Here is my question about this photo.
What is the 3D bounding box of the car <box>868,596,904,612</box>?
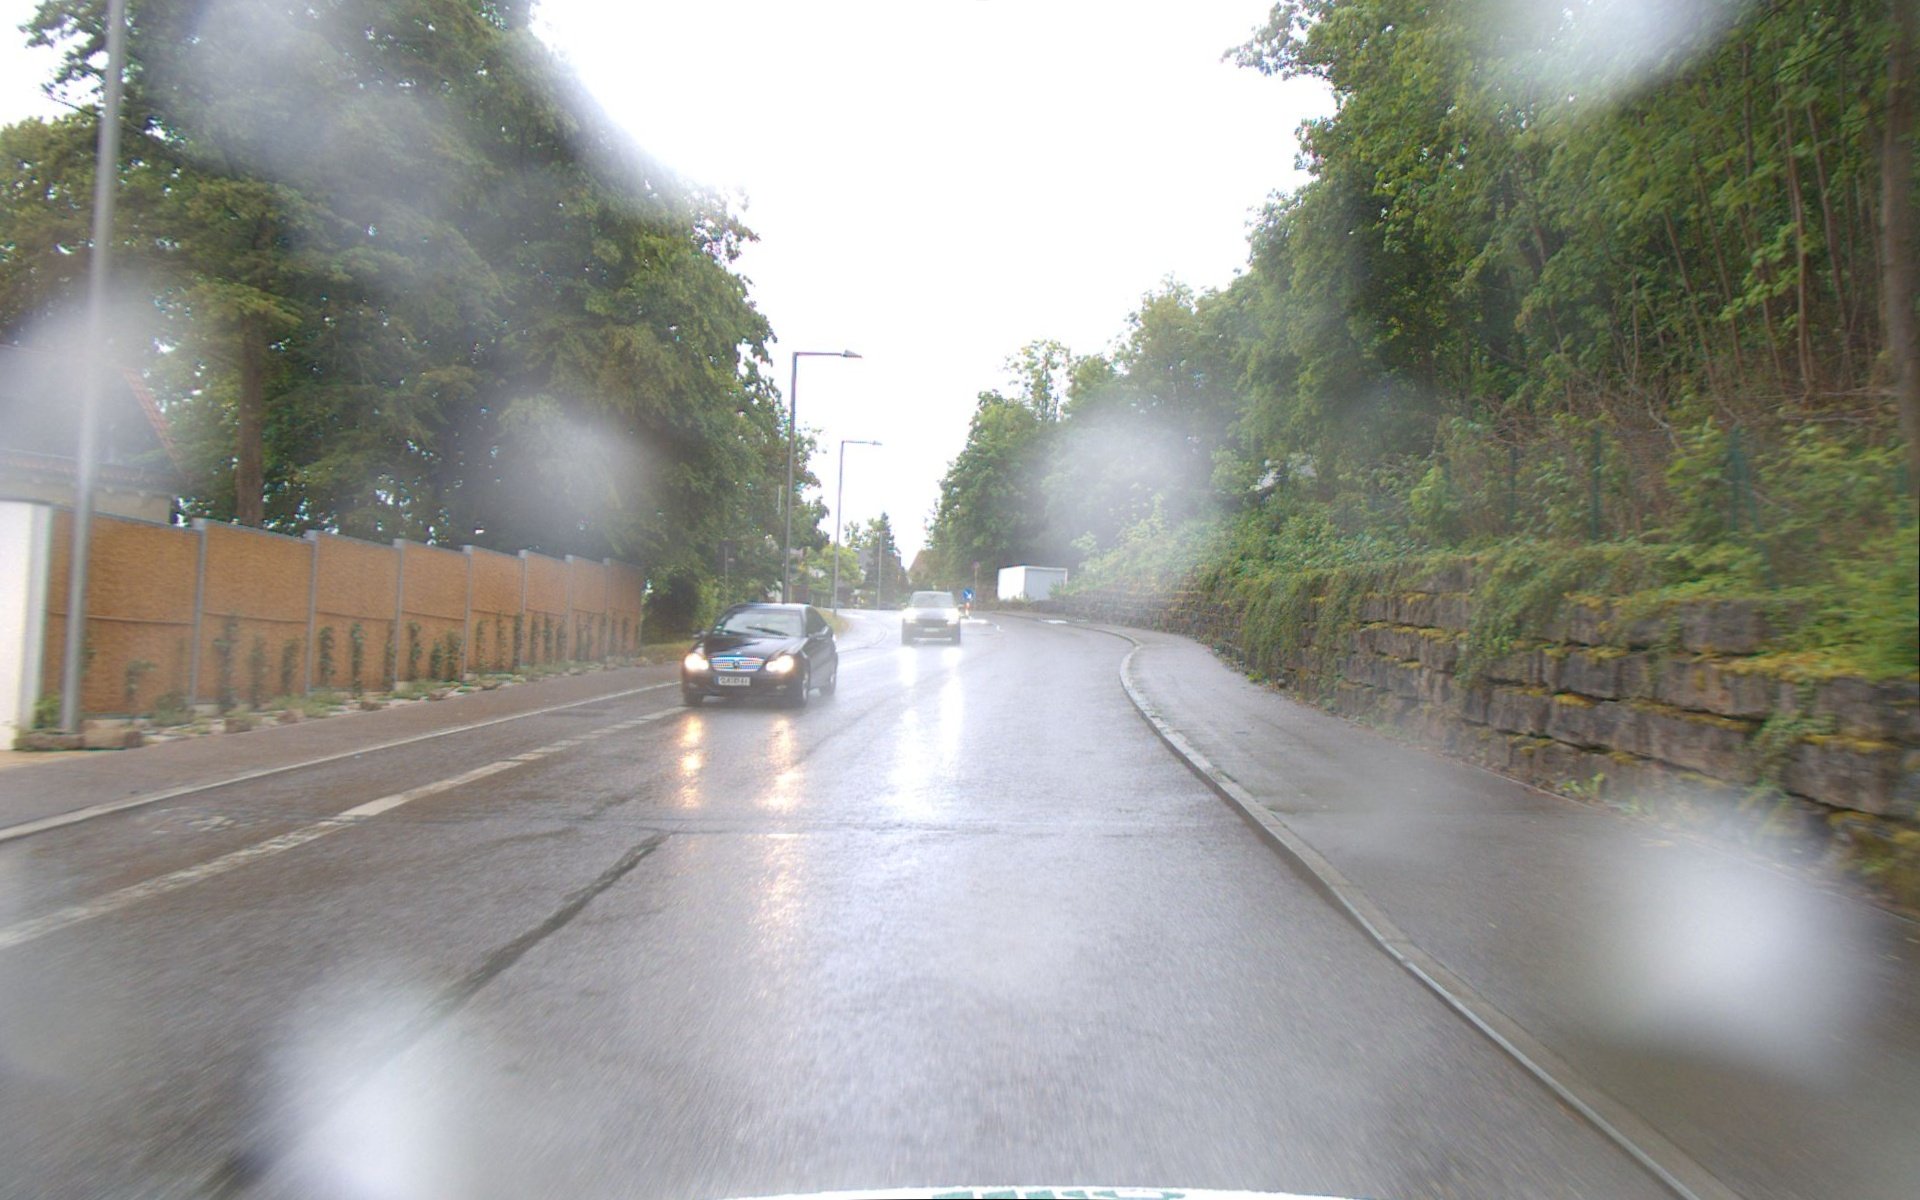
[{"bbox_3d":[-7.682,0.393,172.015,1.916,1.413,3.956,6,-2,-32],"label":"car"}]

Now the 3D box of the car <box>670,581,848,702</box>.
[{"bbox_3d":[-2.794,0.547,23.918,1.796,1.538,4.171,2,0,3],"label":"car"}]

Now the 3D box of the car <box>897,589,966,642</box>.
[{"bbox_3d":[-0.916,0.500,55.450,1.878,1.676,4.549,1,0,4],"label":"car"}]

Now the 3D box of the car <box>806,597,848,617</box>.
[{"bbox_3d":[-13.116,0.651,163.354,3.933,1.660,2.000,4,-2,44],"label":"car"}]
